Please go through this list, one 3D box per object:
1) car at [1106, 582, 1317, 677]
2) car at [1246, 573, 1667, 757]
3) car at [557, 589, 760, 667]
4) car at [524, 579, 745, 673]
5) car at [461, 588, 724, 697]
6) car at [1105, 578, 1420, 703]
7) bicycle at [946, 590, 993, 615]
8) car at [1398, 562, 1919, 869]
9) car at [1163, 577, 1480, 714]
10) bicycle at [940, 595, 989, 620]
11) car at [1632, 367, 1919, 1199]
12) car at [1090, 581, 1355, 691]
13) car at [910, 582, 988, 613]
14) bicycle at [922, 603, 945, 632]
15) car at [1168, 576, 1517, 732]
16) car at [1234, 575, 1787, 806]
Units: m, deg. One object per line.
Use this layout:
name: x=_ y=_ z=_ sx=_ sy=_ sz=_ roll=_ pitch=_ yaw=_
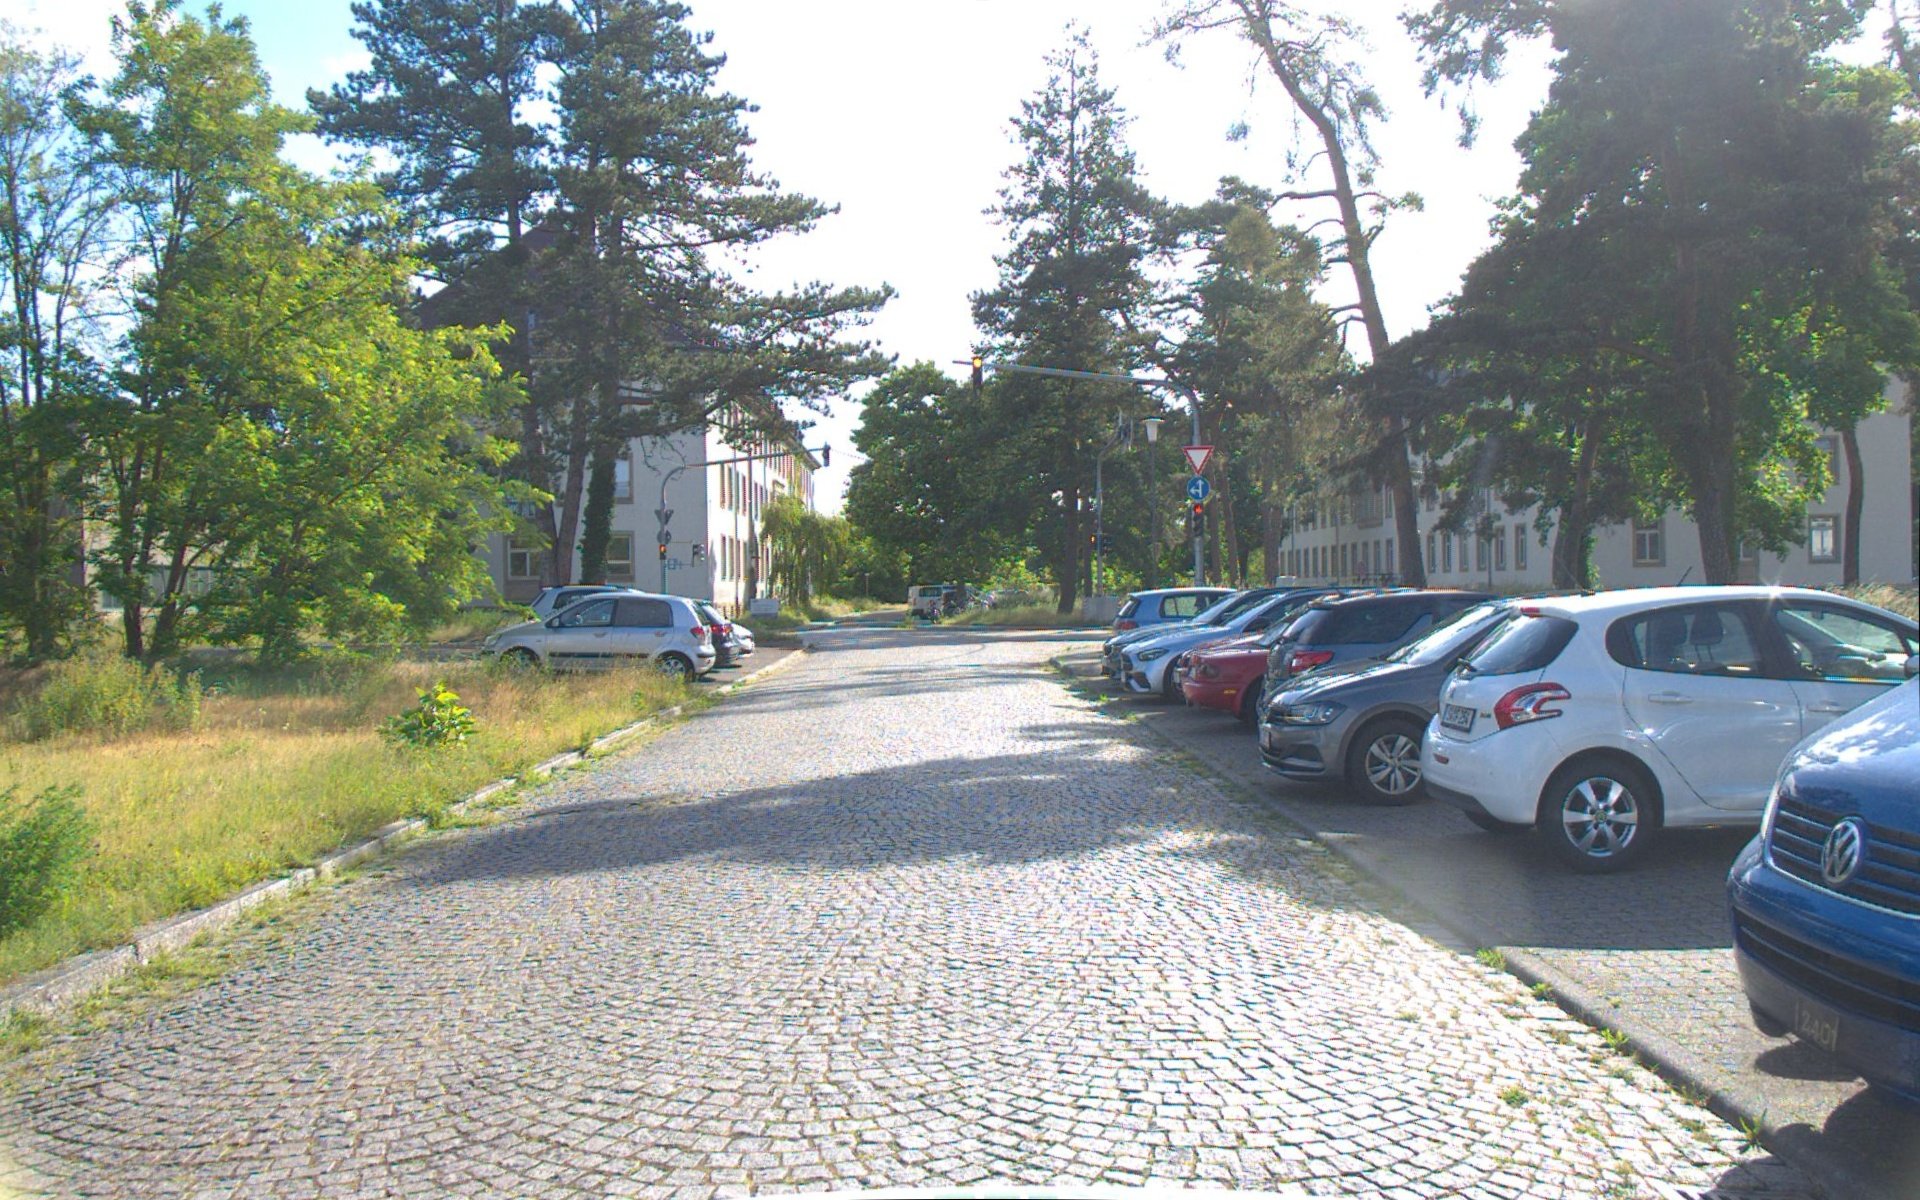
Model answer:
car: x=4.228 y=0.476 z=28.112 sx=3.276 sy=1.508 sz=1.645 roll=-1 pitch=0 yaw=-3
car: x=4.550 y=0.566 z=15.475 sx=3.408 sy=1.556 sz=1.645 roll=-1 pitch=0 yaw=-3
car: x=-6.296 y=0.569 z=34.892 sx=3.906 sy=1.478 sz=1.999 roll=2 pitch=0 yaw=-2
car: x=-6.320 y=0.484 z=32.490 sx=3.907 sy=1.629 sz=1.999 roll=2 pitch=0 yaw=-2
car: x=-5.936 y=0.662 z=27.109 sx=3.908 sy=1.628 sz=1.999 roll=-1 pitch=0 yaw=-4
car: x=4.089 y=0.519 z=22.697 sx=3.955 sy=1.556 sz=1.644 roll=-1 pitch=0 yaw=-5
bicycle: x=0.453 y=0.117 z=78.162 sx=2.134 sy=1.119 sz=0.805 roll=-1 pitch=0 yaw=-11
car: x=4.614 y=0.591 z=9.670 sx=3.619 sy=1.491 sz=1.645 roll=-3 pitch=0 yaw=-1
car: x=4.414 y=0.529 z=20.522 sx=3.530 sy=1.556 sz=1.645 roll=-1 pitch=0 yaw=-3
bicycle: x=0.211 y=0.341 z=77.019 sx=2.134 sy=1.119 sz=0.805 roll=-1 pitch=0 yaw=-11
car: x=4.523 y=0.428 z=4.441 sx=4.585 sy=2.049 sz=2.082 roll=-1 pitch=0 yaw=-4
car: x=3.984 y=0.524 z=25.466 sx=3.759 sy=1.556 sz=1.645 roll=-1 pitch=0 yaw=-3
car: x=-0.630 y=-0.152 z=94.472 sx=4.390 sy=1.758 sz=1.999 roll=0 pitch=0 yaw=-2
bicycle: x=-1.187 y=0.763 z=73.527 sx=0.789 sy=1.190 sz=2.177 roll=-3 pitch=1 yaw=-7
car: x=4.123 y=0.552 z=18.158 sx=3.408 sy=1.556 sz=1.645 roll=-1 pitch=0 yaw=-3
car: x=4.051 y=0.629 z=12.545 sx=3.601 sy=1.492 sz=1.645 roll=-2 pitch=0 yaw=-3
